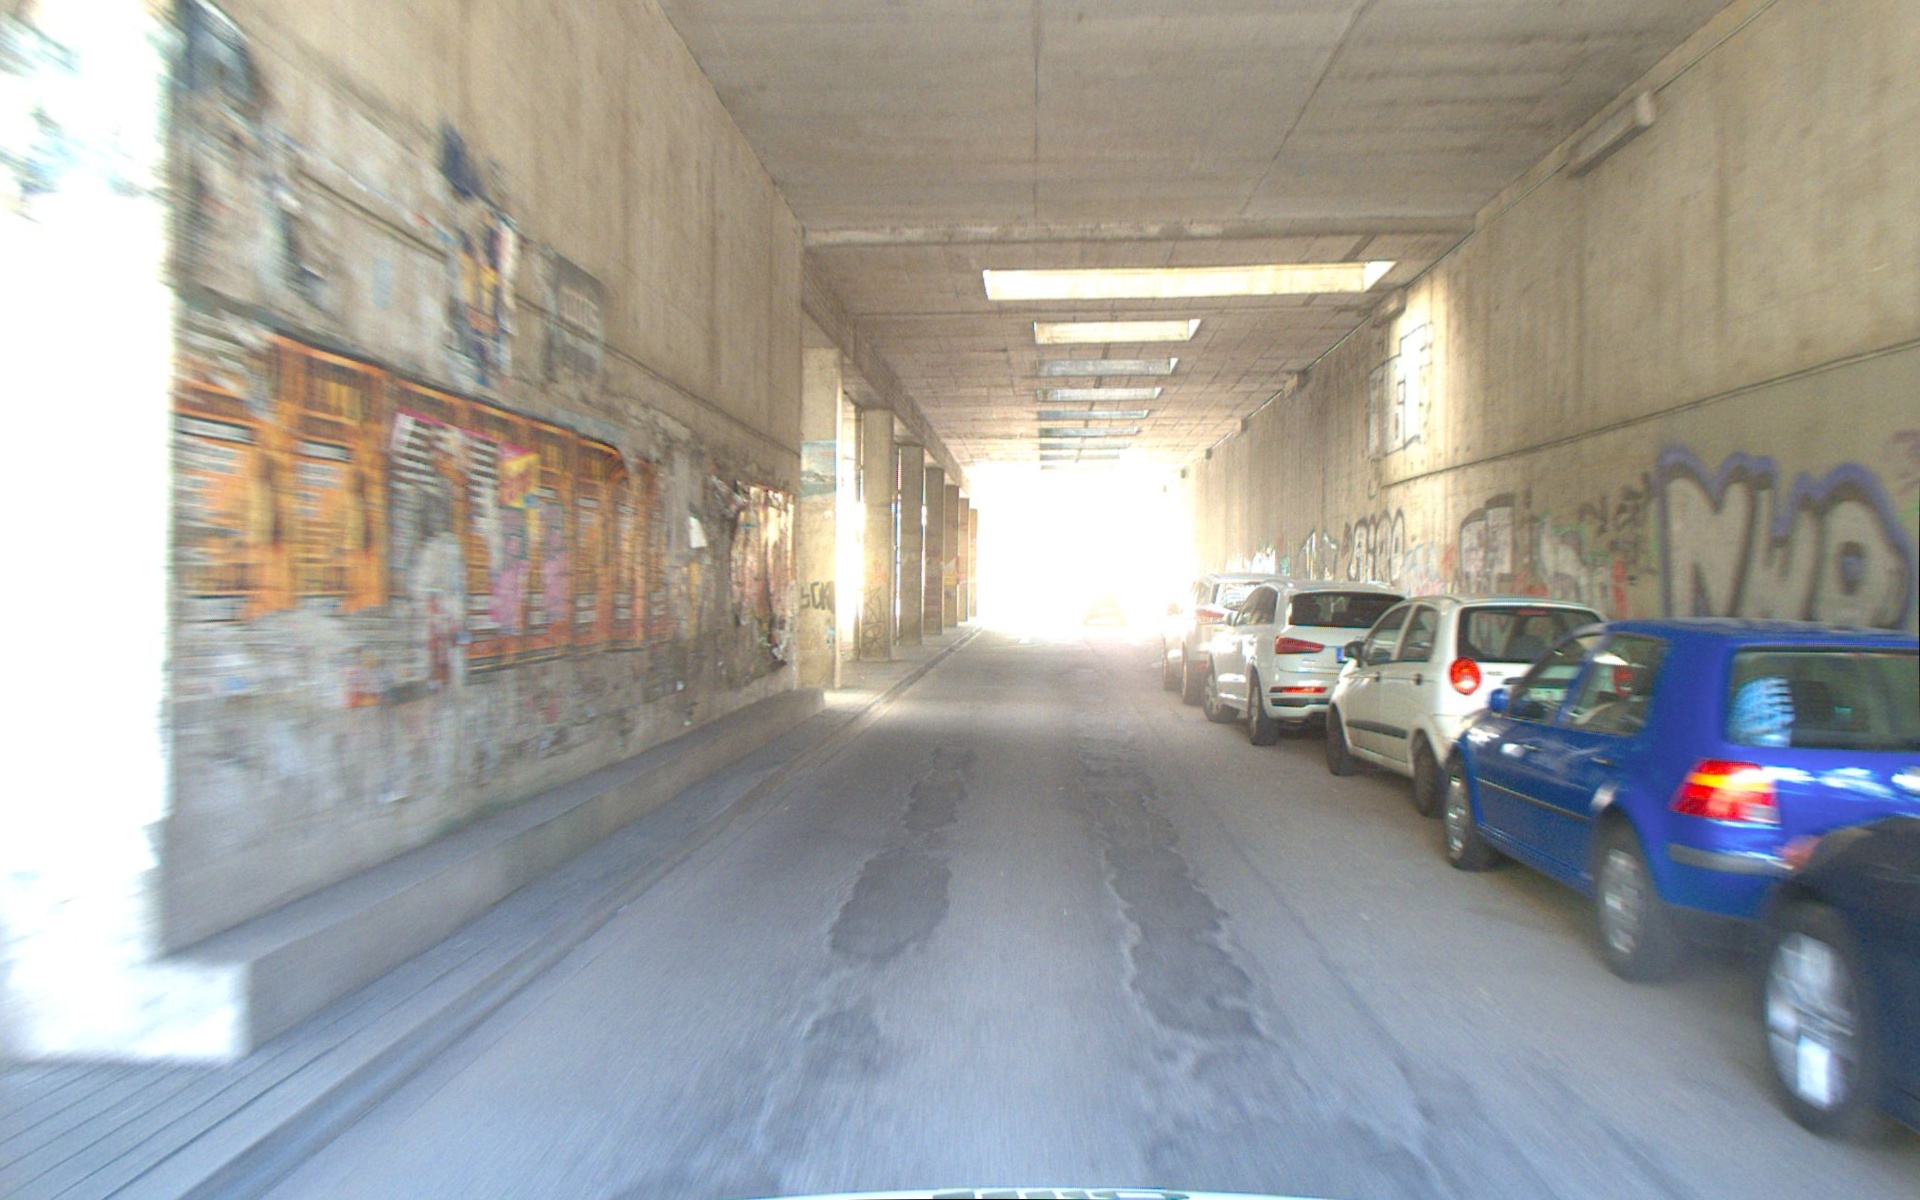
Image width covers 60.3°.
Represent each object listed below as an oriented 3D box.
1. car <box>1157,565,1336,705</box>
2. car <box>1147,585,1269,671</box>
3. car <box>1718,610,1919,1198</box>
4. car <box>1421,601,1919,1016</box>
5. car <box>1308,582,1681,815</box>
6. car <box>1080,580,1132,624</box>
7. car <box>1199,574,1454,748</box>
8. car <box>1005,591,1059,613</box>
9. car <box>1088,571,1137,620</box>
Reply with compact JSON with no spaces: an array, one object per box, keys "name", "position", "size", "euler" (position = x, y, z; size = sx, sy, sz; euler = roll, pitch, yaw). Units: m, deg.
[{"name":"car","position":[3.783,0.387,22.563],"size":[1.814,1.695,4.373],"euler":[1,1,2]},{"name":"car","position":[4.411,0.457,29.942],"size":[1.666,1.398,4.375],"euler":[1,1,2]},{"name":"car","position":[3.250,0.799,3.080],"size":[1.812,1.458,4.609],"euler":[2,0,4]},{"name":"car","position":[3.553,0.736,7.820],"size":[1.725,1.435,4.064],"euler":[0,0,2]},{"name":"car","position":[3.871,0.641,12.601],"size":[1.571,1.513,3.636],"euler":[0,0,-2]},{"name":"car","position":[5.324,0.035,60.597],"size":[1.788,1.527,4.213],"euler":[0,1,3]},{"name":"car","position":[3.634,0.550,17.125],"size":[1.694,1.573,4.155],"euler":[0,0,-1]},{"name":"car","position":[5.364,0.151,123.766],"size":[3.902,1.601,1.641],"euler":[1,0,7]},{"name":"car","position":[6.165,-0.201,67.218],"size":[1.777,1.915,4.587],"euler":[0,1,3]}]
